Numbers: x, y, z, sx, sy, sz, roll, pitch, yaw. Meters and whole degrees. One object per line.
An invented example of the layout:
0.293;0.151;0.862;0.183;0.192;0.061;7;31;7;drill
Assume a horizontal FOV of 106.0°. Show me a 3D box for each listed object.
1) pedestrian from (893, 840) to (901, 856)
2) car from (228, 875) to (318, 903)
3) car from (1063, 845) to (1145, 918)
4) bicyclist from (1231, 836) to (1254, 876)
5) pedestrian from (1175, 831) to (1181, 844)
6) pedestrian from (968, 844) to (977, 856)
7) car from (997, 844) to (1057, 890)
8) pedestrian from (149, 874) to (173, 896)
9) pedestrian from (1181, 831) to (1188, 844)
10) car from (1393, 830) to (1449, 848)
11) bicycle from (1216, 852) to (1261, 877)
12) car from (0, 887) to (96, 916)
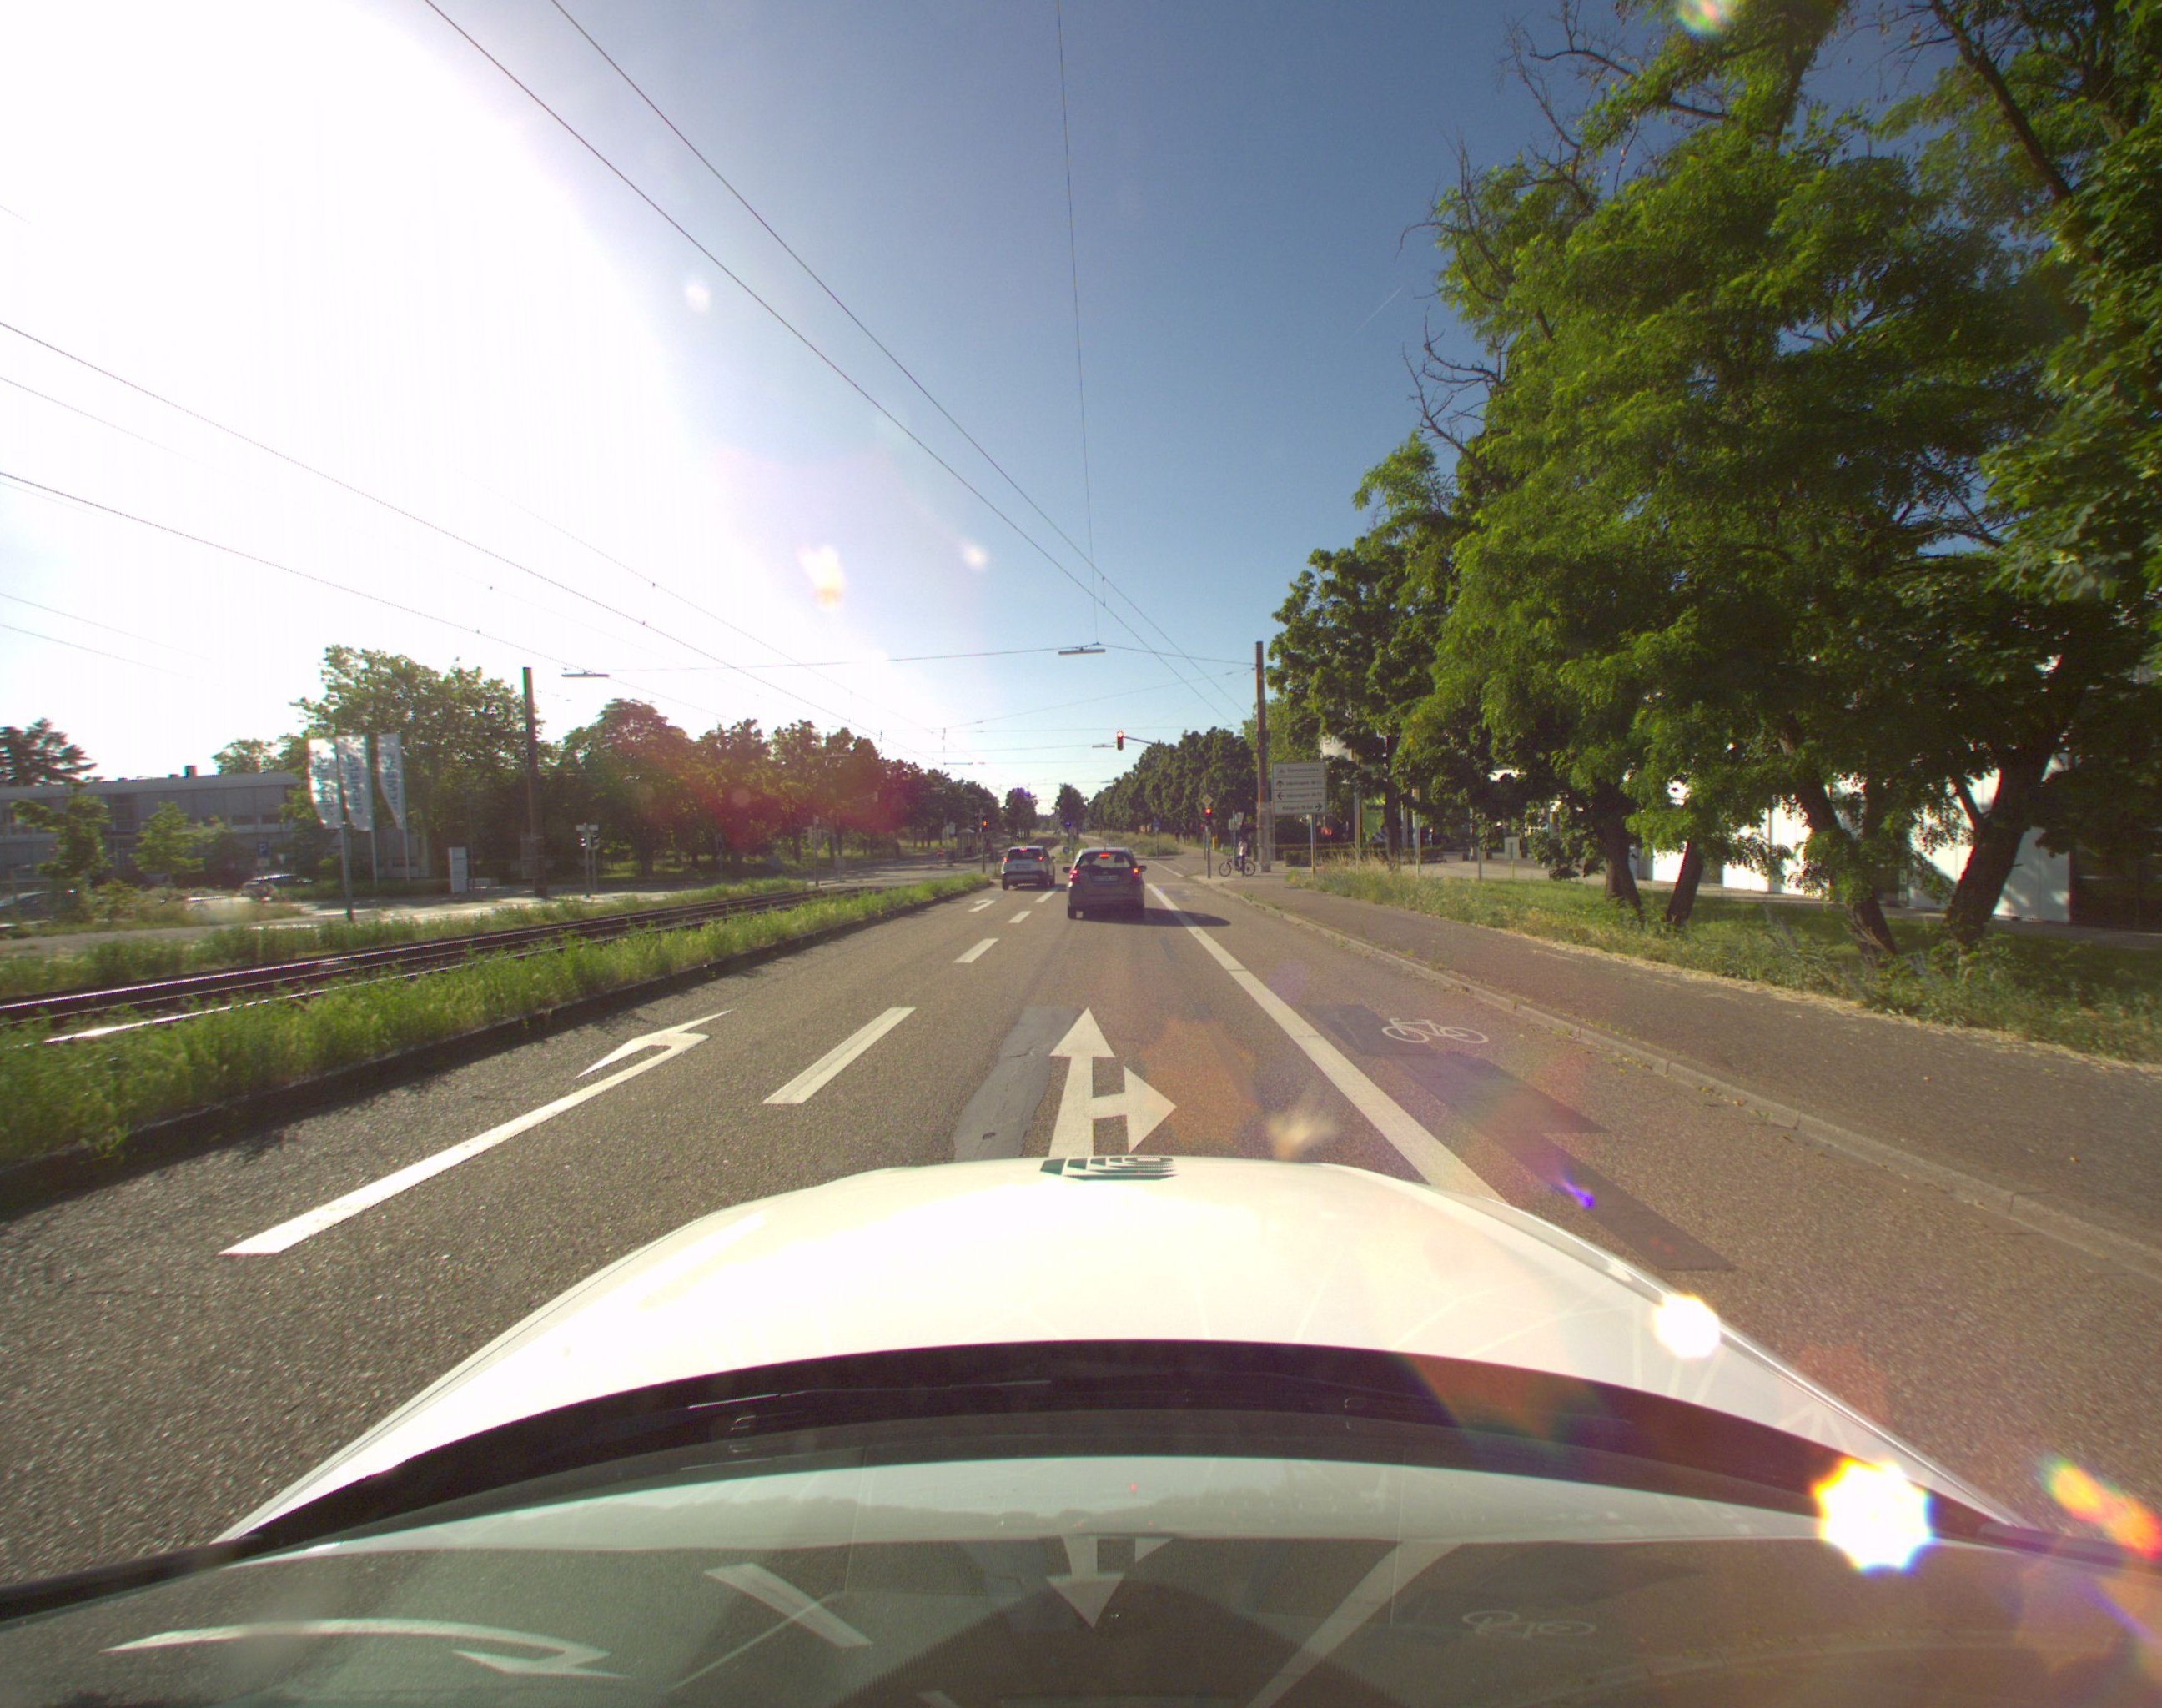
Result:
-22.915;-0.723;101.382;0.837;2.013;0.863;-1;1;0;pedestrian
-50.363;2.173;50.856;1.685;1.488;3.863;-1;1;1;car
0.584;0.555;18.932;1.700;1.508;4.003;-1;0;3;car
7.393;0.092;37.223;0.904;1.745;0.767;-3;0;13;bicyclist
11.397;-1.956;95.780;0.565;1.596;0.665;0;0;-2;pedestrian
-11.204;-0.389;84.149;0.718;1.246;0.711;-2;1;0;pedestrian
-2.008;0.454;31.503;1.844;1.606;4.257;-1;0;2;car
-67.435;2.279;59.702;0.757;1.529;0.826;-1;1;12;pedestrian
12.187;-1.927;95.815;0.676;1.610;0.720;0;0;0;pedestrian
32.261;-1.427;77.305;4.537;1.629;1.870;-2;0;-11;car
7.205;0.472;37.268;1.907;0.998;0.767;-4;0;12;bicycle
-63.058;2.846;49.331;1.680;1.452;3.965;-1;1;11;car
